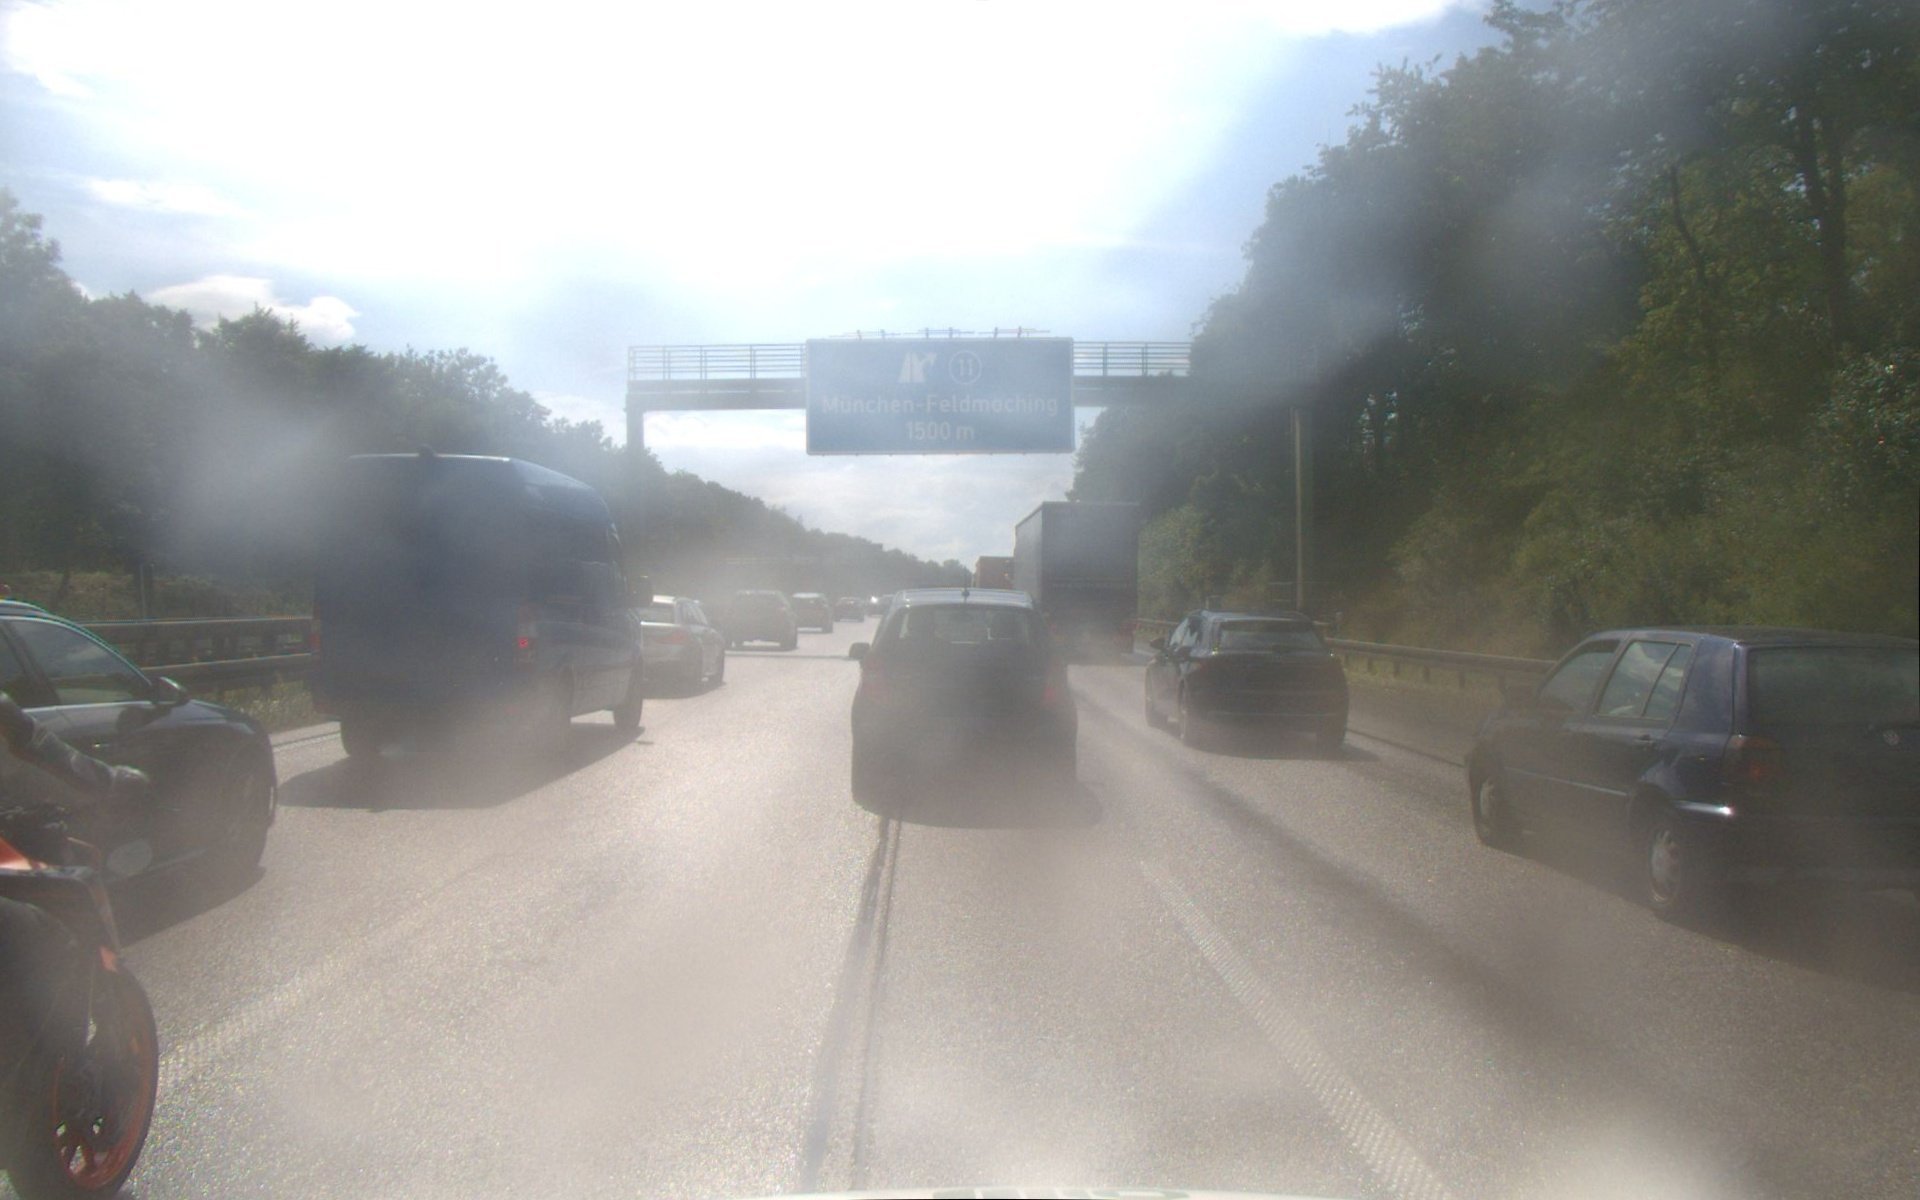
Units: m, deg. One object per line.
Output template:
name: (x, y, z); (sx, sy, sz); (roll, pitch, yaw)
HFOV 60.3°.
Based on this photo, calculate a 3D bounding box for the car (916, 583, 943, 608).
car: (-1.896, -0.287, 103.262); (1.598, 1.516, 3.436); (1, 0, -1)

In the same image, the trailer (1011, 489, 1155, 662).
trailer: (3.389, -0.632, 49.533); (3.025, 4.388, 14.102); (1, 0, -1)

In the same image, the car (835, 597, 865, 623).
car: (-6.697, 0.610, 100.847); (1.641, 1.516, 3.436); (1, 0, -1)

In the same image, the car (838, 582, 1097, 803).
car: (0.028, 0.675, 14.217); (1.876, 1.592, 4.313); (1, 0, -1)

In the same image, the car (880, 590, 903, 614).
car: (-6.209, 0.181, 149.531); (1.953, 2.049, 3.999); (1, 0, -1)

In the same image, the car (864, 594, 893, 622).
car: (-6.169, 0.637, 125.451); (1.953, 2.049, 3.999); (1, 0, -1)

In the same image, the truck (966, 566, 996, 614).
truck: (2.159, -0.972, 173.035); (2.823, 4.769, 12.656); (1, 0, 0)

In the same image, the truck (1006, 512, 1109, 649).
truck: (3.266, -0.640, 56.759); (2.990, 4.400, 5.884); (1, 0, -2)

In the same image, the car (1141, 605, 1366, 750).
car: (3.196, 0.789, 18.845); (1.719, 1.421, 4.367); (1, 0, -1)

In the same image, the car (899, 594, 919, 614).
car: (-5.315, 0.402, 172.619); (1.953, 2.049, 3.999); (1, 0, -1)

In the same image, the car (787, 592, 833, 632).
car: (-6.286, 0.478, 69.714); (1.641, 1.625, 3.436); (1, 0, -1)

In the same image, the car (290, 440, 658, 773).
car: (-4.486, 0.052, 16.383); (1.974, 2.695, 5.775); (1, 0, -1)

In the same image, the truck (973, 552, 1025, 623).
truck: (2.517, -0.814, 110.014); (3.136, 4.481, 9.431); (1, 0, 0)

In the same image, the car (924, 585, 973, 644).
car: (-0.428, 0.489, 57.896); (1.641, 1.970, 3.772); (1, 0, -1)

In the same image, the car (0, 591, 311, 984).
car: (-4.357, 0.678, 6.754); (1.684, 1.436, 4.467); (1, 0, -1)

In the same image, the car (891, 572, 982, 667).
car: (-0.553, 0.435, 38.305); (1.953, 2.049, 3.999); (1, 0, -1)

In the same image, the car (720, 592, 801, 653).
car: (-5.664, 0.617, 47.408); (1.854, 1.656, 4.194); (1, 0, -1)

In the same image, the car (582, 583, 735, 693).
car: (-4.771, 0.561, 26.722); (1.722, 1.622, 4.330); (0, 0, -1)

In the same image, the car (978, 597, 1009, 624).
car: (1.890, 0.578, 93.942); (1.641, 1.516, 3.436); (1, 0, -1)

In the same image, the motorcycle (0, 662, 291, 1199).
motorcycle: (-2.019, 0.806, 3.095); (0.803, 1.285, 2.115); (1, 0, -5)

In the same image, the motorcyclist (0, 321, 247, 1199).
motorcyclist: (-2.008, 0.438, 3.087); (0.805, 1.791, 1.389); (1, -1, -5)

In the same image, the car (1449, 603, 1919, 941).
car: (4.140, 0.769, 9.210); (1.617, 1.481, 3.743); (0, 0, -2)
